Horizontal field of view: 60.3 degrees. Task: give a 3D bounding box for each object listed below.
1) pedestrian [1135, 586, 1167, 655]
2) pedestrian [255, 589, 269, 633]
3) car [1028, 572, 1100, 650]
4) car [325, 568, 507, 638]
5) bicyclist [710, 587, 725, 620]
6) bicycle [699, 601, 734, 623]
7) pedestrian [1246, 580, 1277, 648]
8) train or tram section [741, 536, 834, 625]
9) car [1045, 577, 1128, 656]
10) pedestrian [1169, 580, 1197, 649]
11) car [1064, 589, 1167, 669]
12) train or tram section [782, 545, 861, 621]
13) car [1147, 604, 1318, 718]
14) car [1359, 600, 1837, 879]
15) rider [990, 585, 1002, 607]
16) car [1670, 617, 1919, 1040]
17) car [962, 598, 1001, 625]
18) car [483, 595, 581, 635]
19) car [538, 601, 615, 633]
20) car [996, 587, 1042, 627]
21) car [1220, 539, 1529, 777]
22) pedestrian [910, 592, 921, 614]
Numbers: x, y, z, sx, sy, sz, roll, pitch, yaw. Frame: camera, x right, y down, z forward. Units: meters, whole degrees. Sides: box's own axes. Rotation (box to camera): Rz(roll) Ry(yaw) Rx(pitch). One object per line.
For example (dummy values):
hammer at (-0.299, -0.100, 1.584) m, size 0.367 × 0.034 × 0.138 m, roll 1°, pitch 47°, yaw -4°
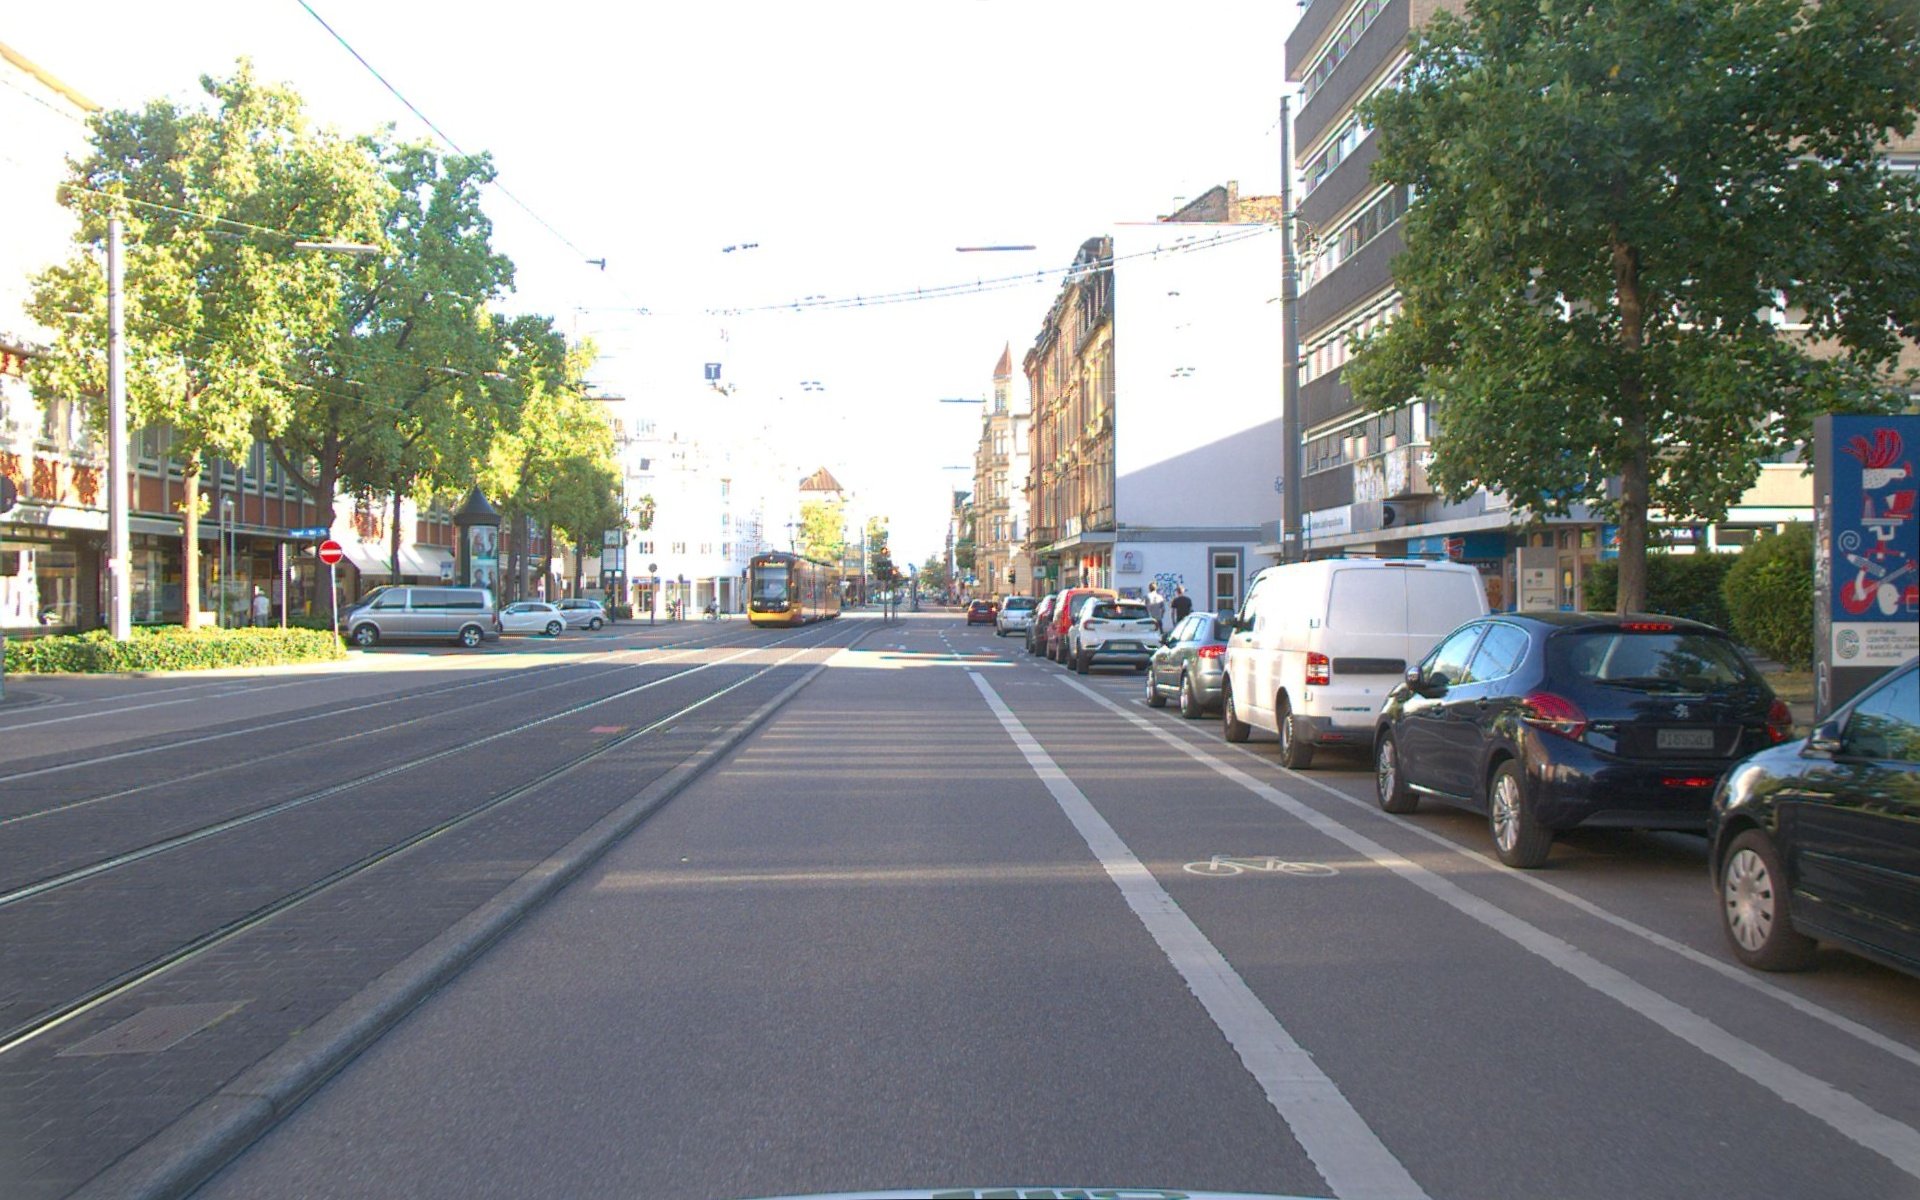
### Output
pedestrian at (4.904, 0.512, 42.564) m, size 0.716 × 1.752 × 0.834 m, roll 0°, pitch 0°, yaw -1°
pedestrian at (-22.185, 0.347, 52.577) m, size 0.357 × 1.366 × 0.480 m, roll 2°, pitch 0°, yaw -22°
car at (2.849, 0.281, 45.963) m, size 1.588 × 2.041 × 3.829 m, roll 2°, pitch 0°, yaw -2°
car at (-17.802, 0.138, 54.250) m, size 5.205 × 2.078 × 2.390 m, roll 2°, pitch -2°, yaw -34°
bicyclist at (-15.104, 0.223, 102.890) m, size 0.706 × 2.049 × 0.701 m, roll 2°, pitch 0°, yaw 5°
bicycle at (-15.139, 0.752, 102.890) m, size 1.977 × 1.261 × 0.701 m, roll 2°, pitch 0°, yaw 5°
pedestrian at (7.782, 0.361, 42.705) m, size 0.647 × 1.752 × 0.834 m, roll 0°, pitch 0°, yaw -1°
train or tram section at (-8.423, -0.898, 82.441) m, size 2.636 × 4.029 × 12.095 m, roll 2°, pitch 0°, yaw 3°
car at (3.134, 0.398, 41.731) m, size 1.588 × 1.845 × 4.081 m, roll 2°, pitch 0°, yaw -2°
pedestrian at (5.771, 0.375, 42.787) m, size 0.612 × 1.752 × 0.628 m, roll 0°, pitch 0°, yaw -1°
car at (3.281, 0.585, 35.644) m, size 1.688 × 1.595 × 4.081 m, roll -1°, pitch 0°, yaw -2°
train or tram section at (-7.809, -0.900, 94.883) m, size 2.636 × 3.946 × 12.848 m, roll 2°, pitch 0°, yaw 3°
car at (3.717, 0.791, 23.193) m, size 1.588 × 1.394 × 3.929 m, roll 2°, pitch 0°, yaw -2°
car at (3.986, 0.766, 11.067) m, size 1.588 × 1.499 × 3.969 m, roll 1°, pitch 0°, yaw -1°
rider at (2.542, -0.279, 117.559) m, size 0.695 × 1.507 × 0.887 m, roll 2°, pitch 0°, yaw 11°
car at (4.169, 0.825, 5.803) m, size 1.588 × 1.456 × 3.983 m, roll 1°, pitch 0°, yaw -1°
car at (1.229, 0.629, 95.166) m, size 2.024 × 1.413 × 4.223 m, roll 2°, pitch 0°, yaw -2°
car at (-19.019, 0.673, 73.489) m, size 3.832 × 1.656 × 1.855 m, roll 2°, pitch 0°, yaw -33°
car at (-19.449, 0.850, 83.937) m, size 3.488 × 1.507 × 1.564 m, roll 2°, pitch 0°, yaw -34°
car at (2.417, 0.268, 68.627) m, size 1.588 × 1.582 × 4.081 m, roll 2°, pitch 0°, yaw -2°
car at (4.026, 0.499, 16.898) m, size 1.931 × 2.049 × 4.557 m, roll -1°, pitch 0°, yaw -1°
pedestrian at (-4.271, 0.319, 158.254) m, size 0.901 × 2.049 × 0.759 m, roll 2°, pitch 0°, yaw -2°
